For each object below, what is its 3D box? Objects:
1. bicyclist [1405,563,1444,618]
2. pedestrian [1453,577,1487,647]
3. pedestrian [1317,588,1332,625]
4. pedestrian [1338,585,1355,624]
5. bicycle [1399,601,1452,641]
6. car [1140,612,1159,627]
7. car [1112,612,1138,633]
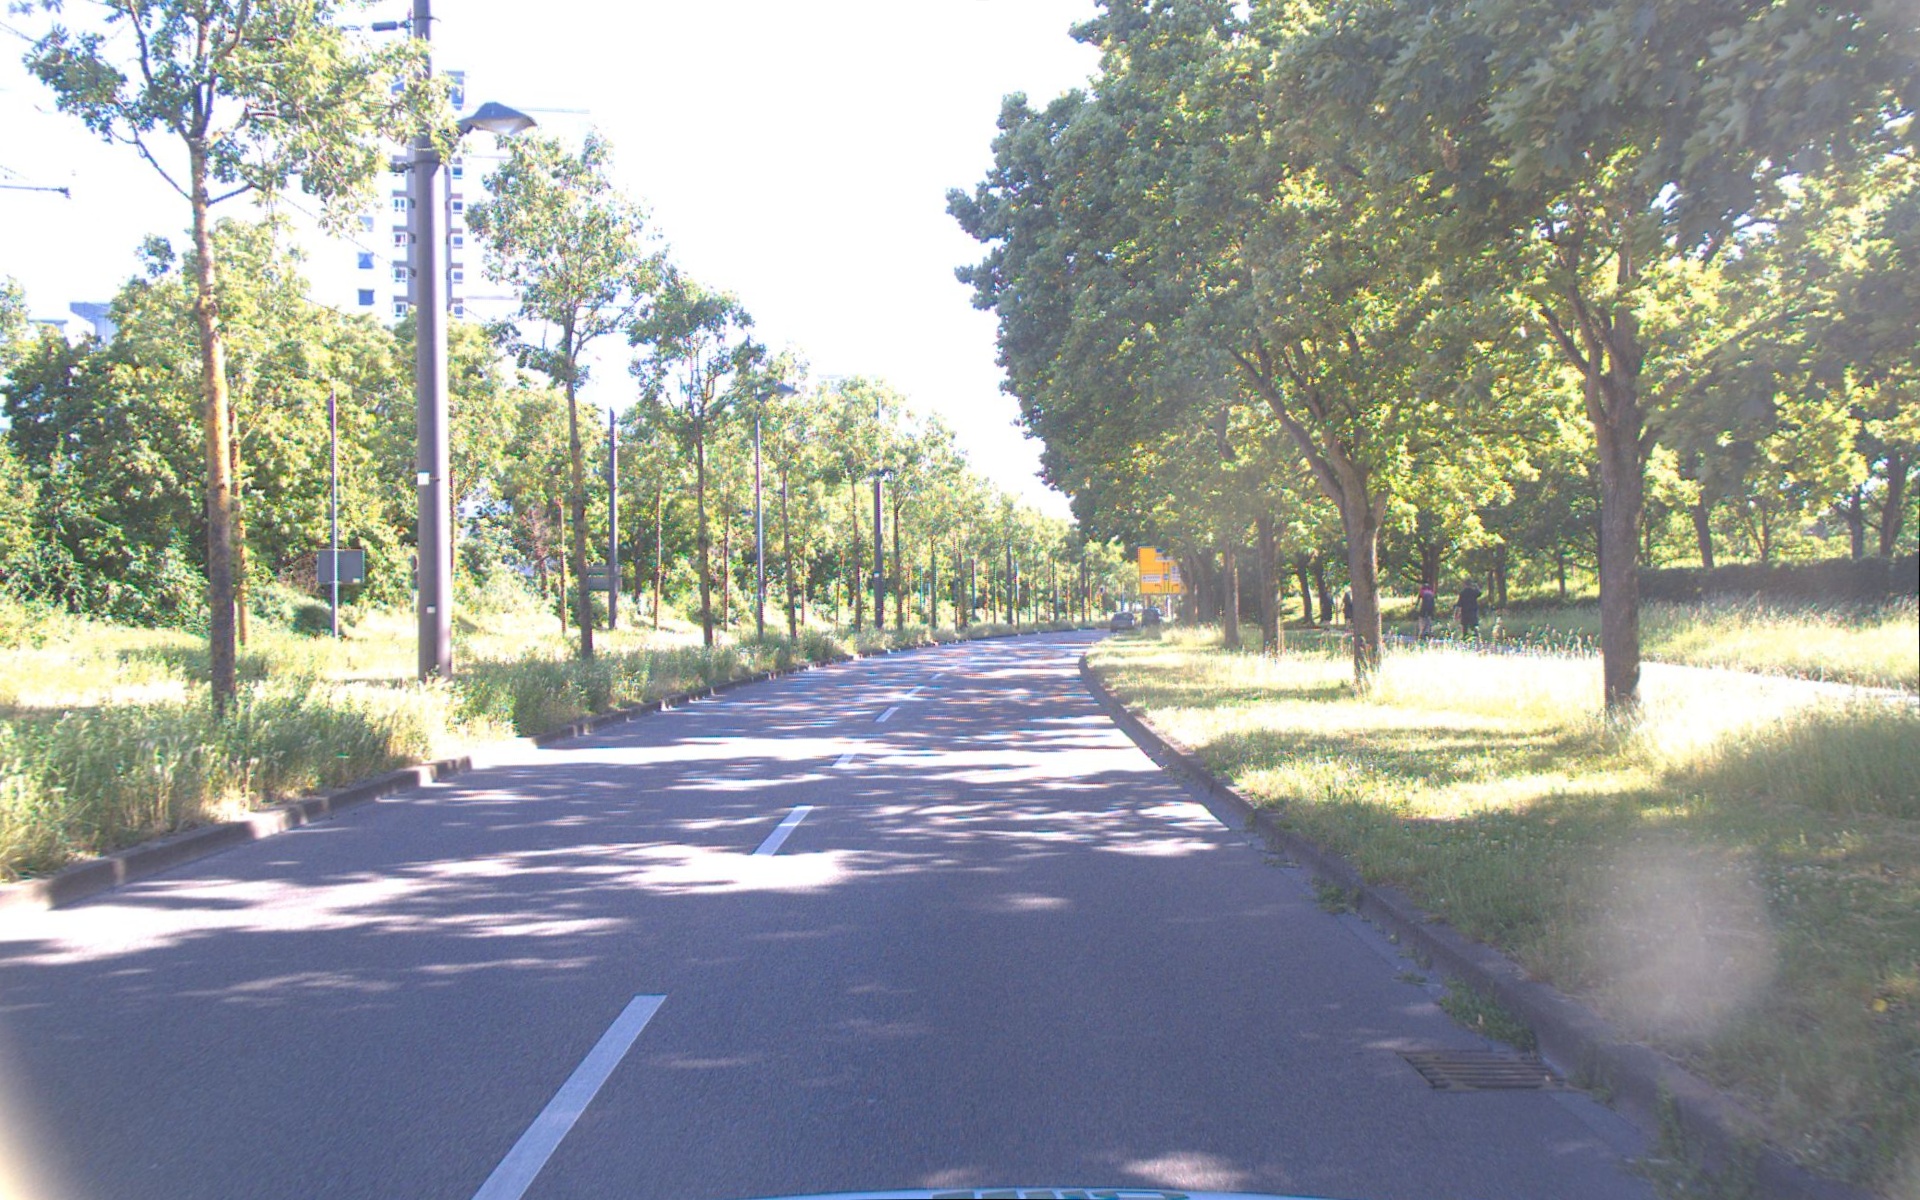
[{"bbox_3d":[12.671,-0.257,45.133,0.773,1.476,0.845,-1,-1,-2],"label":"bicyclist"},{"bbox_3d":[13.595,0.317,44.078,0.700,1.835,0.794,-1,-1,5],"label":"pedestrian"},{"bbox_3d":[16.427,0.280,74.463,0.535,1.650,0.844,-1,-1,18],"label":"pedestrian"},{"bbox_3d":[17.303,0.209,74.094,0.622,1.721,0.844,-1,-1,18],"label":"pedestrian"},{"bbox_3d":[12.687,0.571,45.137,0.778,1.065,2.141,-1,-1,-2],"label":"bicycle"},{"bbox_3d":[19.118,1.952,166.825,1.599,1.524,4.238,0,0,10],"label":"car"},{"bbox_3d":[11.997,1.602,120.264,1.599,1.524,4.238,0,0,9],"label":"car"}]
